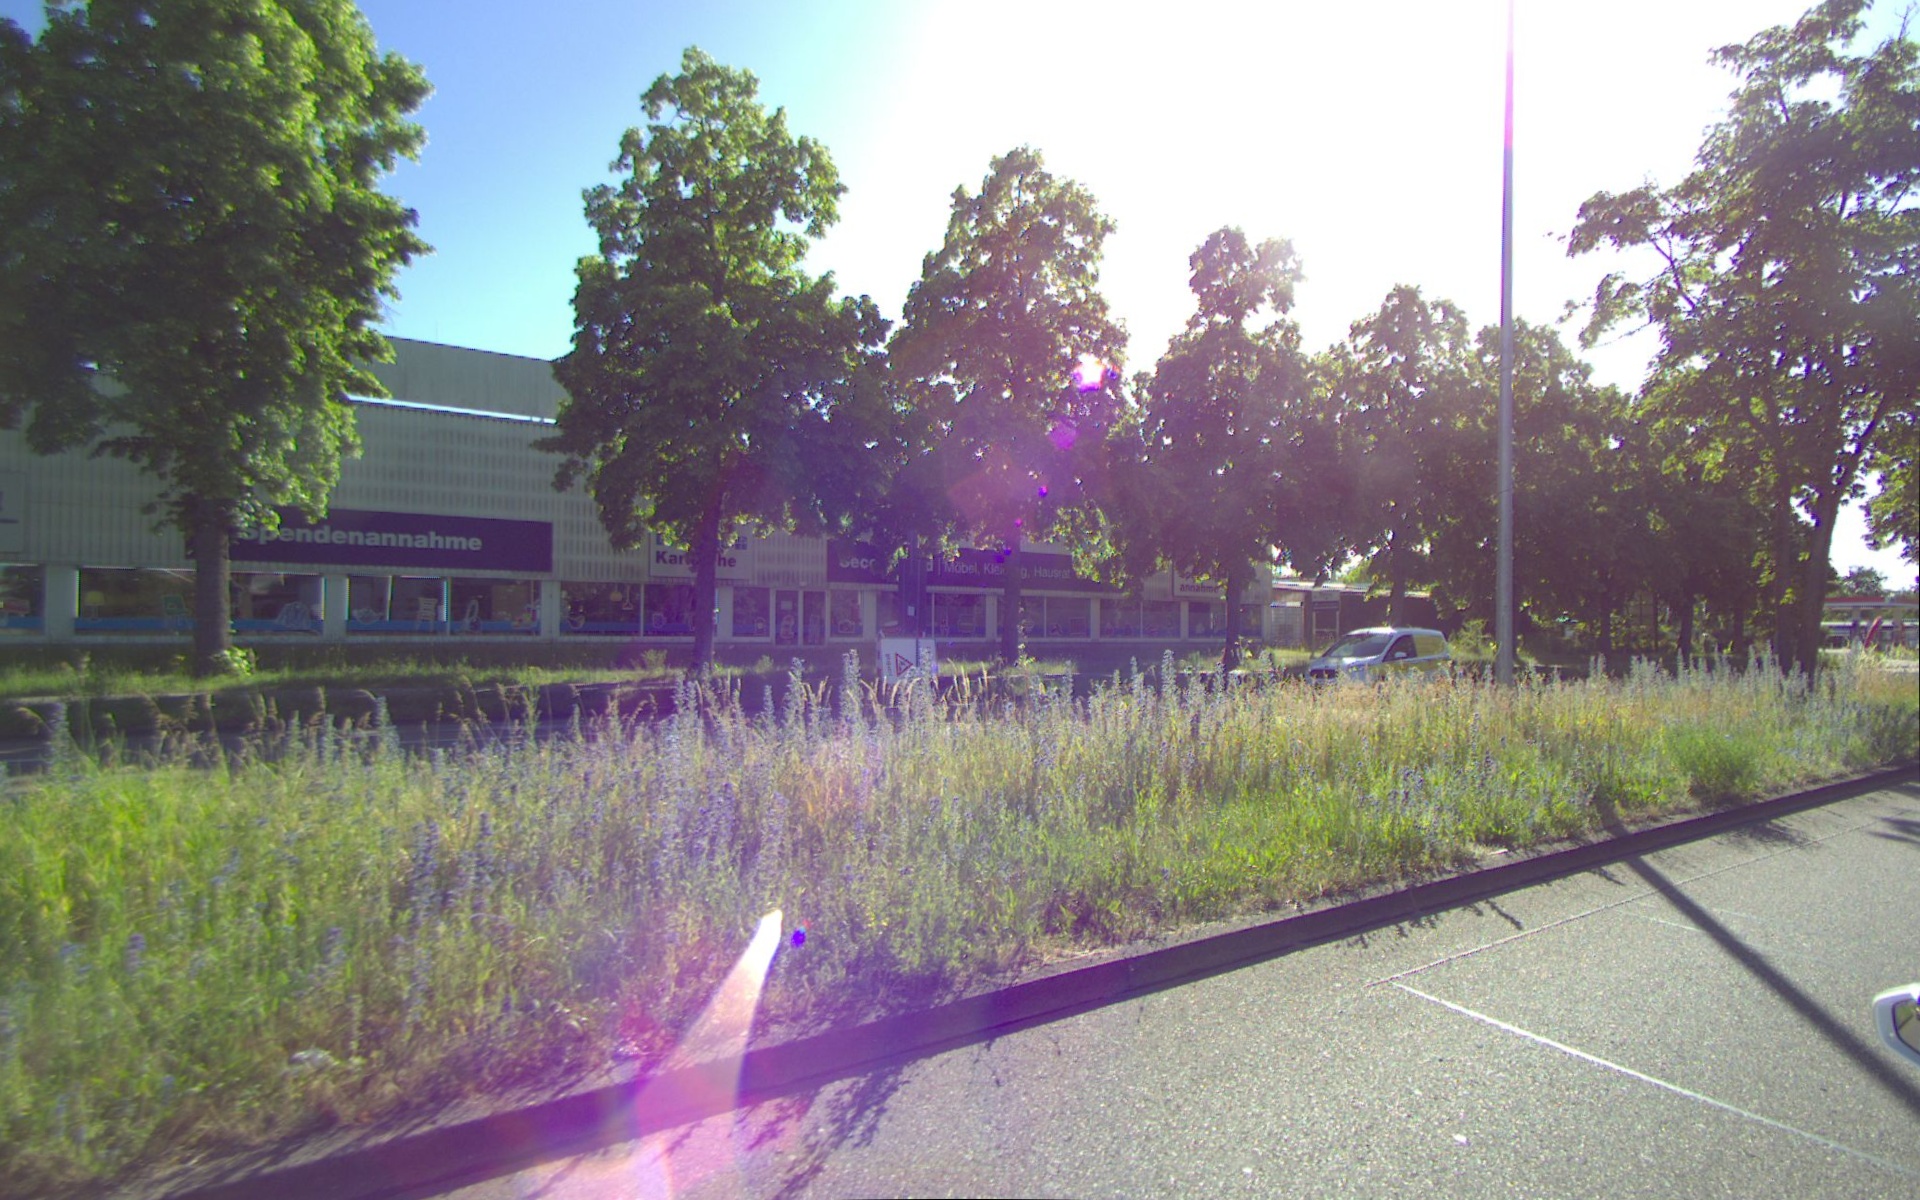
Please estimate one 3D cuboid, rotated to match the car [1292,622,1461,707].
[{"bbox_3d":[9.578,1.415,22.989,4.125,1.769,1.695,2,-1,-36],"label":"car"}]
